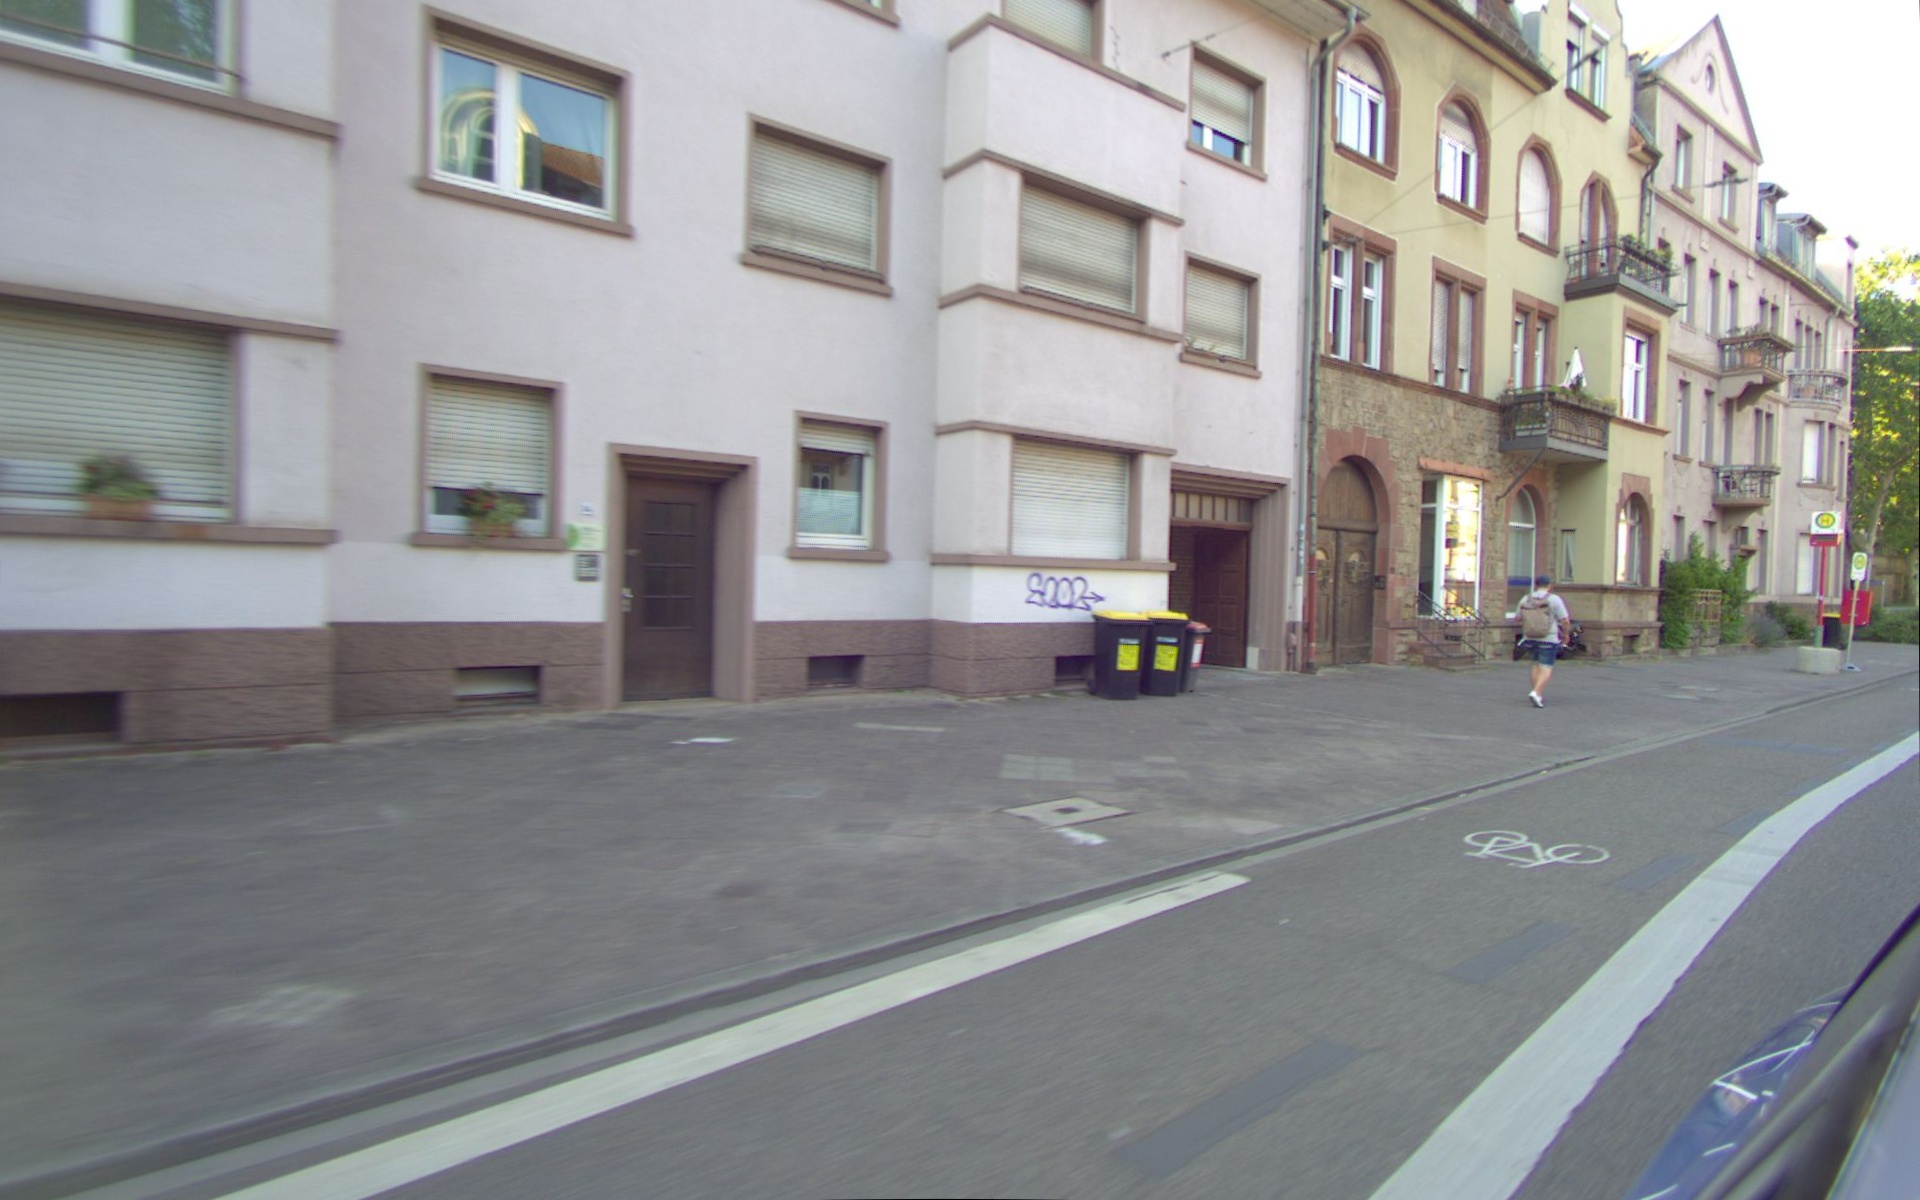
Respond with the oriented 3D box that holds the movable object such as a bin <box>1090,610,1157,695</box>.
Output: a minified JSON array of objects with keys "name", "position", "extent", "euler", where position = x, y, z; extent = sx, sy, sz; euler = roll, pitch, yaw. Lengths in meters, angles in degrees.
[{"name":"movable object such as a bin","position":[2.004,0.625,12.418],"extent":[0.573,0.981,0.556],"euler":[-1,2,-35]}]

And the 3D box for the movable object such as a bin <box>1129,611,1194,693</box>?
[{"name":"movable object such as a bin","position":[2.580,0.648,12.968],"extent":[0.573,0.981,0.556],"euler":[-1,2,-35]}]

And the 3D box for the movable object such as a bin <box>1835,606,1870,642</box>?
[{"name":"movable object such as a bin","position":[27.437,0.722,31.115],"extent":[0.645,1.059,0.572],"euler":[0,2,-24]}]

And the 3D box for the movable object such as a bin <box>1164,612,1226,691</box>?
[{"name":"movable object such as a bin","position":[3.127,0.675,13.472],"extent":[0.573,0.981,0.556],"euler":[-1,2,-35]}]

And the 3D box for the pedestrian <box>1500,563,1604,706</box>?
[{"name":"pedestrian","position":[8.000,0.422,13.682],"extent":[1.129,1.835,0.831],"euler":[-1,2,-38]}]

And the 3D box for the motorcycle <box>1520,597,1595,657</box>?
[{"name":"motorcycle","position":[12.672,0.536,21.429],"extent":[2.462,1.151,0.591],"euler":[-1,2,-41]}]

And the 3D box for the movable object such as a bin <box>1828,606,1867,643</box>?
[{"name":"movable object such as a bin","position":[26.901,0.734,30.693],"extent":[0.645,1.059,0.659],"euler":[0,2,-24]}]
